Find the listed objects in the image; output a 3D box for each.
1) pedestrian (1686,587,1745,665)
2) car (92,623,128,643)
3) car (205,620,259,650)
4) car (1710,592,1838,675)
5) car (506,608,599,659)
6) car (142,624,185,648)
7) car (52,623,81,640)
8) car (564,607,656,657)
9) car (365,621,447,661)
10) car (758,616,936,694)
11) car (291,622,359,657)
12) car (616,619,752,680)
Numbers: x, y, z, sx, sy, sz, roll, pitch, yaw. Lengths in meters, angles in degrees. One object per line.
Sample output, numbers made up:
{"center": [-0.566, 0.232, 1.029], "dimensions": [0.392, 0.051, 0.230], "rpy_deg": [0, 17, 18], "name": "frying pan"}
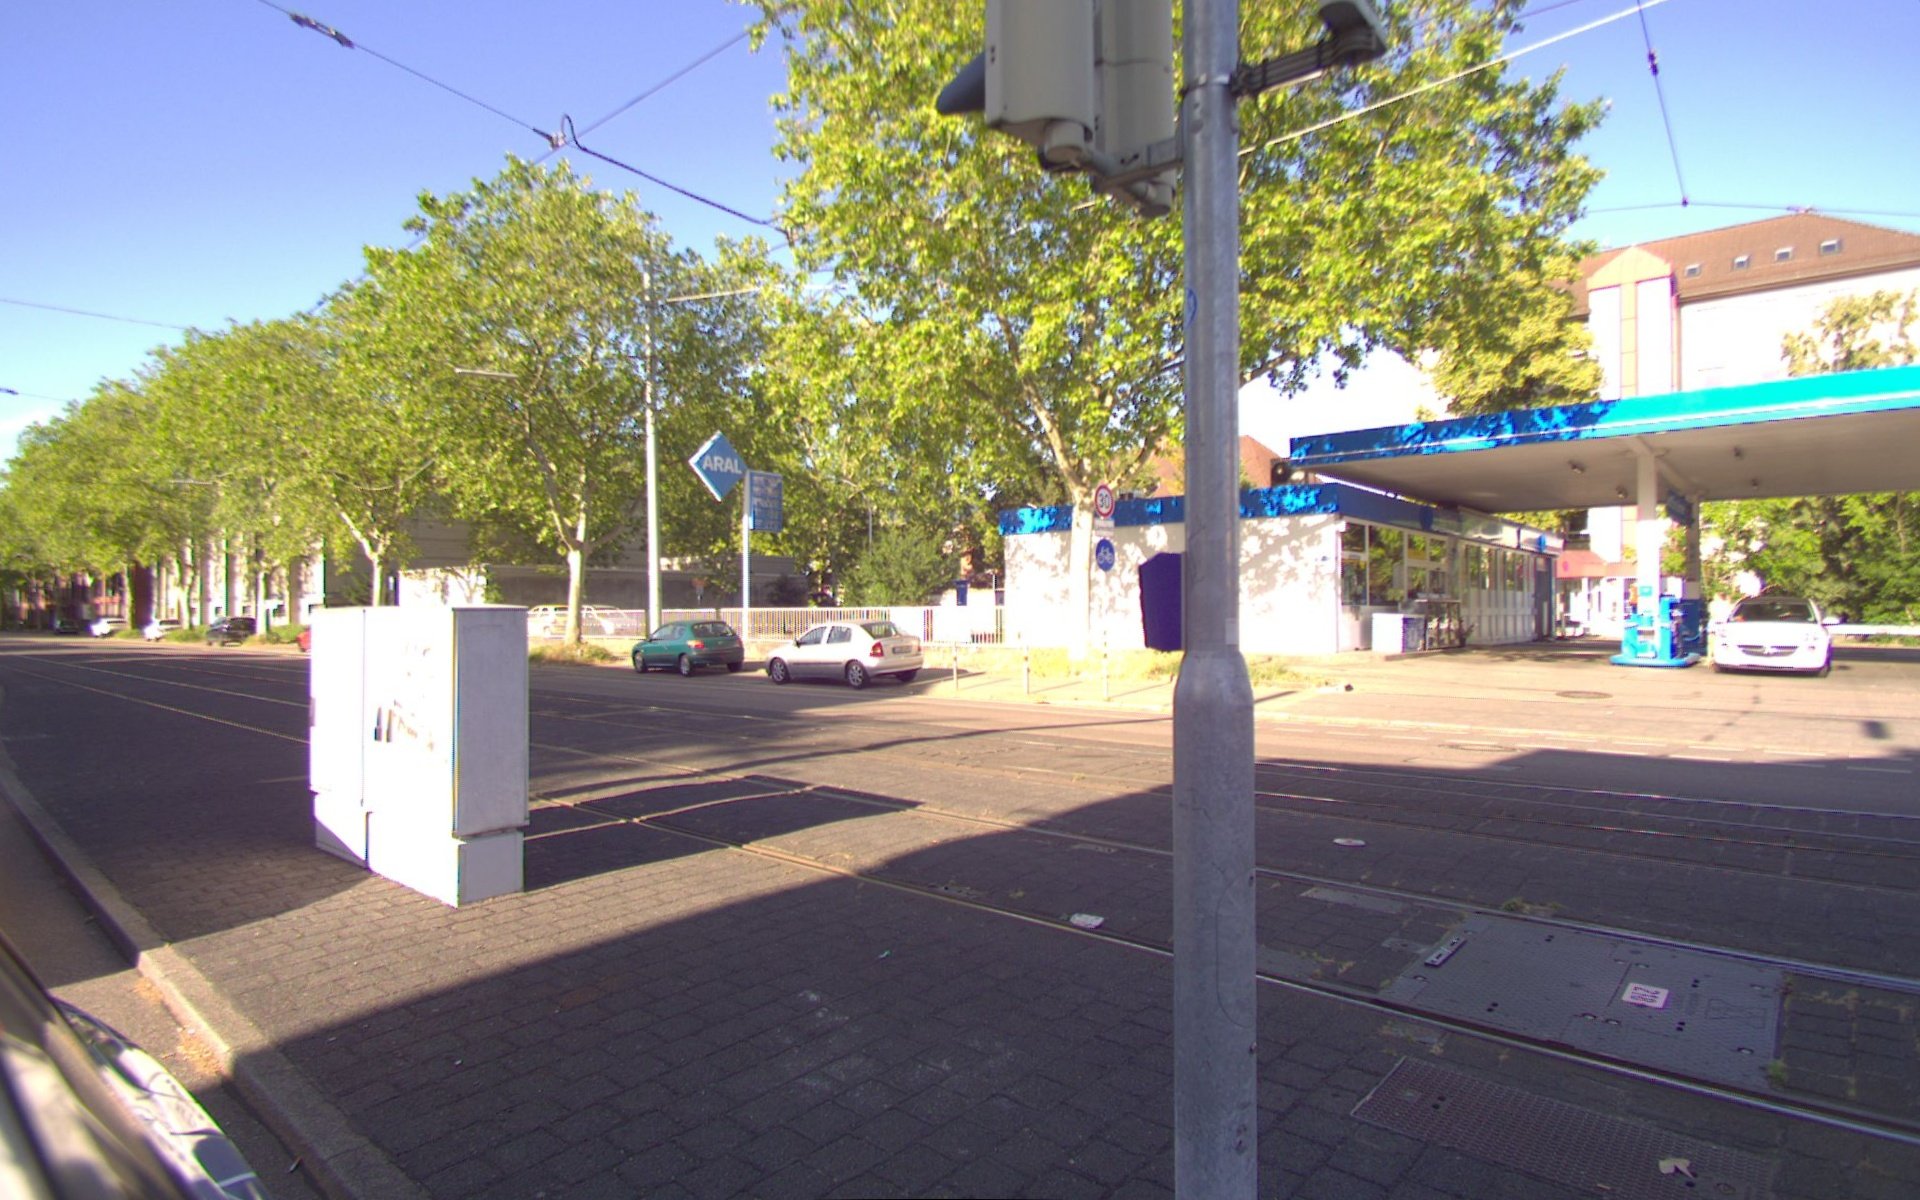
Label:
{"center": [16.140, 0.553, 21.630], "dimensions": [0.806, 1.642, 0.643], "rpy_deg": [-1, -1, 17], "name": "pedestrian"}
{"center": [-66.923, 2.575, 79.657], "dimensions": [3.858, 1.495, 1.735], "rpy_deg": [-1, 0, 43], "name": "car"}
{"center": [-40.674, 1.952, 56.499], "dimensions": [3.858, 1.557, 1.735], "rpy_deg": [-1, 0, 43], "name": "car"}
{"center": [15.939, 0.613, 19.791], "dimensions": [1.793, 1.453, 3.946], "rpy_deg": [-1, -1, 40], "name": "car"}
{"center": [-17.044, 1.392, 42.274], "dimensions": [3.996, 2.029, 1.974], "rpy_deg": [-1, -1, 39], "name": "car"}
{"center": [-53.636, 2.395, 68.136], "dimensions": [3.858, 1.495, 1.735], "rpy_deg": [-1, 0, 43], "name": "car"}
{"center": [-84.869, 3.008, 96.133], "dimensions": [3.858, 1.495, 1.735], "rpy_deg": [-1, 0, 43], "name": "car"}
{"center": [-15.145, 1.362, 43.702], "dimensions": [3.996, 2.029, 1.974], "rpy_deg": [-1, -1, 39], "name": "car"}
{"center": [-21.985, 1.586, 40.103], "dimensions": [3.858, 1.468, 1.735], "rpy_deg": [-1, 0, 43], "name": "car"}
{"center": [-2.574, 1.166, 22.607], "dimensions": [3.857, 1.497, 1.823], "rpy_deg": [-1, 1, 42], "name": "car"}
{"center": [-28.911, 1.771, 46.058], "dimensions": [3.858, 1.440, 1.695], "rpy_deg": [-1, 0, 43], "name": "car"}
{"center": [-7.434, 1.273, 27.087], "dimensions": [3.858, 1.408, 1.722], "rpy_deg": [-1, 1, 43], "name": "car"}
